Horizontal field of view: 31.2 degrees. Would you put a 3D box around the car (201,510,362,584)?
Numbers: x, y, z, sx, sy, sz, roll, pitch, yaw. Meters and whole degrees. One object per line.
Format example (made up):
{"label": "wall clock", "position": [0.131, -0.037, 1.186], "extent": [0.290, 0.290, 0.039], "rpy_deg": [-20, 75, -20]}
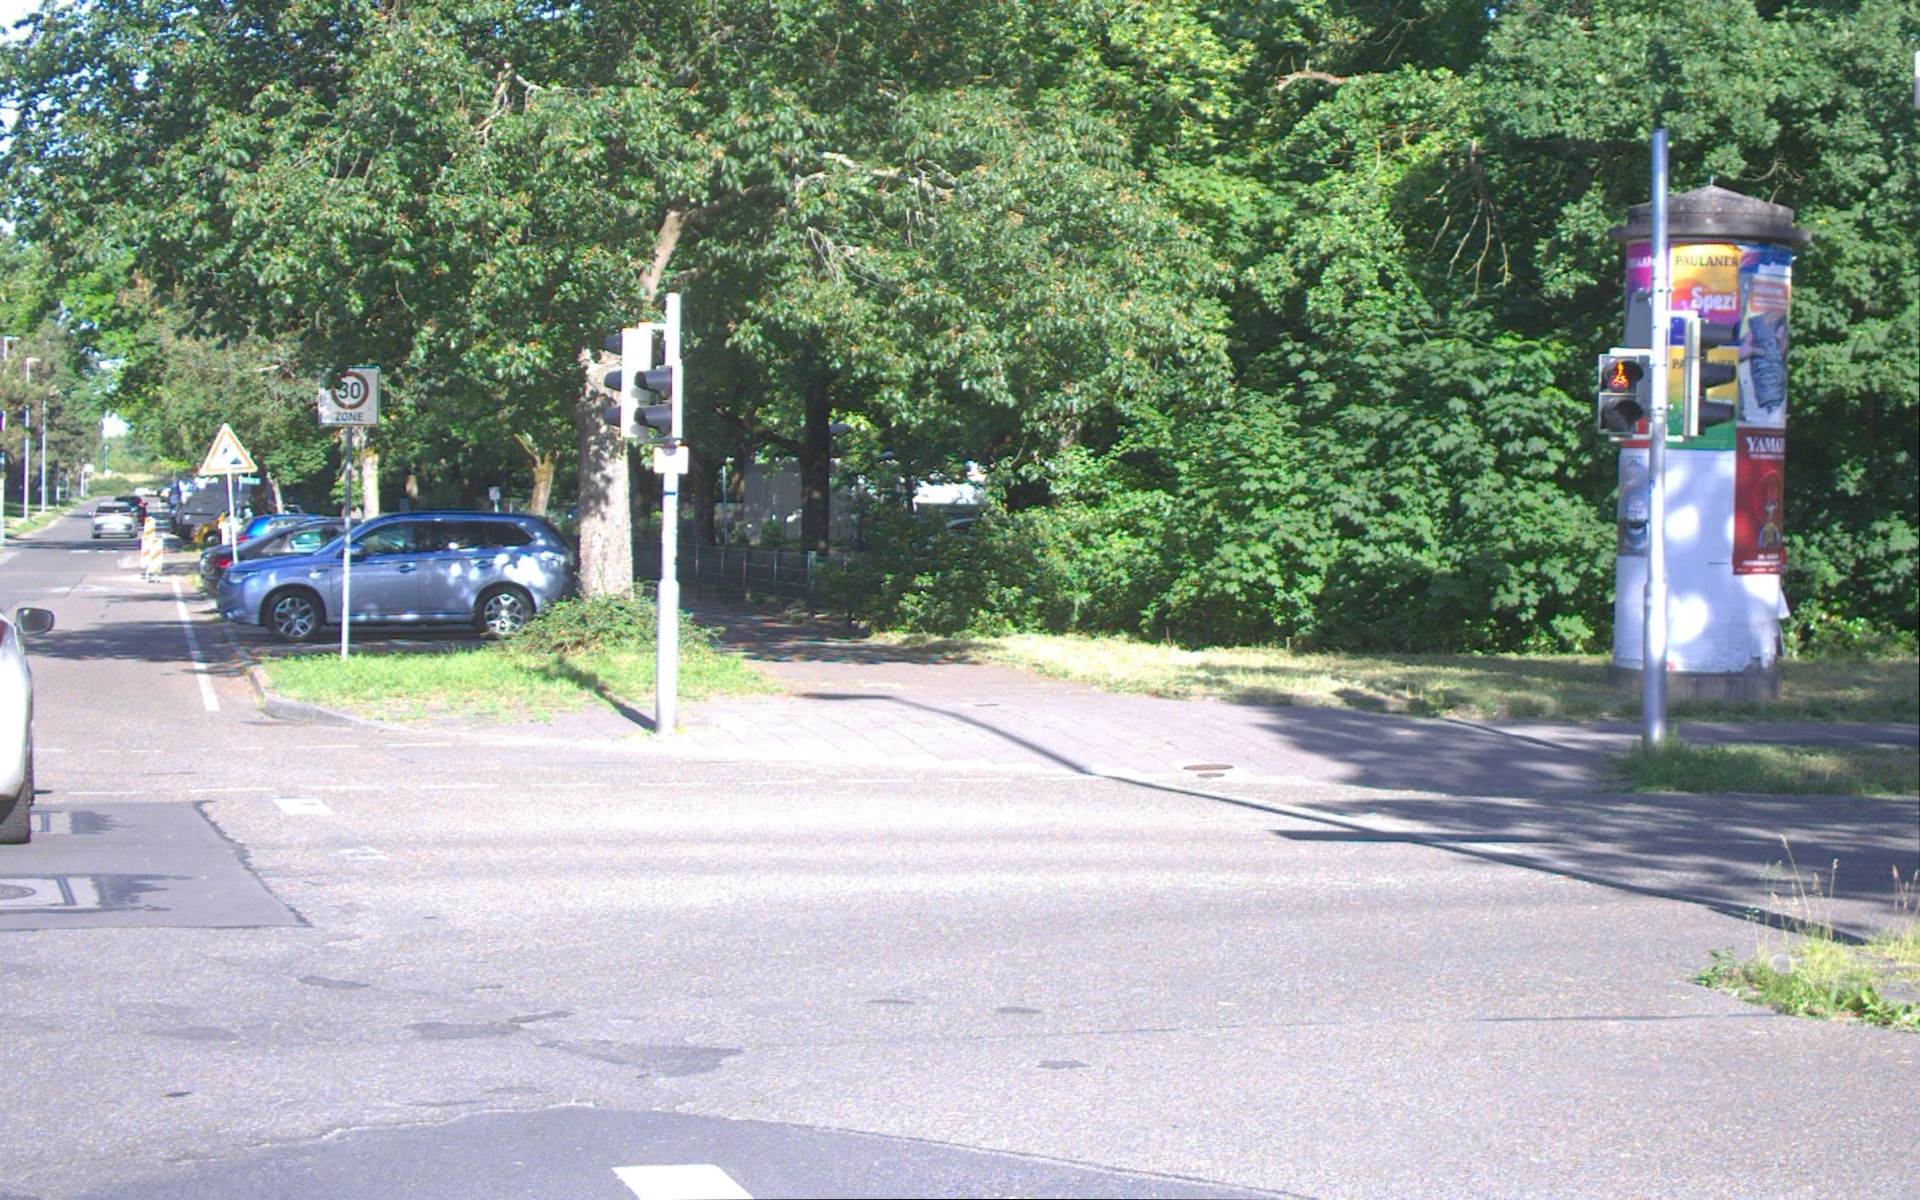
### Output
{"label": "car", "position": [-16.893, -1.307, 85.533], "extent": [3.818, 1.678, 1.864], "rpy_deg": [2, 0, -13]}

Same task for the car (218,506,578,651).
{"label": "car", "position": [-7.293, -0.283, 44.643], "extent": [4.497, 1.777, 1.855], "rpy_deg": [1, 1, -10]}

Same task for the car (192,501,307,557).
{"label": "car", "position": [-24.566, -2.443, 118.869], "extent": [3.818, 1.761, 1.864], "rpy_deg": [2, 0, -13]}

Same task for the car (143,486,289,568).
{"label": "car", "position": [-20.561, -2.016, 94.992], "extent": [3.818, 2.091, 1.864], "rpy_deg": [2, 0, -13]}

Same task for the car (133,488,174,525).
{"label": "car", "position": [-42.363, -4.901, 180.547], "extent": [1.993, 1.809, 4.001], "rpy_deg": [2, 0, -13]}

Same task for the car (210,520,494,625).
{"label": "car", "position": [-10.000, -0.455, 56.589], "extent": [4.497, 1.624, 1.855], "rpy_deg": [1, 1, -10]}

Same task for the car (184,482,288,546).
{"label": "car", "position": [-28.019, -3.311, 133.034], "extent": [3.818, 2.291, 1.864], "rpy_deg": [2, 0, -13]}

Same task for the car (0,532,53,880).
{"label": "car", "position": [-5.321, 0.404, 16.531], "extent": [1.789, 1.458, 3.965], "rpy_deg": [1, 1, -14]}

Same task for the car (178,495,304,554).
{"label": "car", "position": [-25.493, -2.664, 121.886], "extent": [4.300, 1.901, 1.864], "rpy_deg": [2, 0, -13]}

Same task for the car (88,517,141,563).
{"label": "car", "position": [-35.196, -2.496, 143.201], "extent": [1.993, 1.809, 4.001], "rpy_deg": [3, 1, -13]}

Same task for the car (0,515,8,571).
{"label": "car", "position": [-32.469, -1.924, 113.072], "extent": [1.993, 1.809, 4.001], "rpy_deg": [2, 0, -13]}

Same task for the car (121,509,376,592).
{"label": "car", "position": [-16.398, -1.130, 79.255], "extent": [5.612, 1.678, 1.949], "rpy_deg": [2, 0, -13]}
